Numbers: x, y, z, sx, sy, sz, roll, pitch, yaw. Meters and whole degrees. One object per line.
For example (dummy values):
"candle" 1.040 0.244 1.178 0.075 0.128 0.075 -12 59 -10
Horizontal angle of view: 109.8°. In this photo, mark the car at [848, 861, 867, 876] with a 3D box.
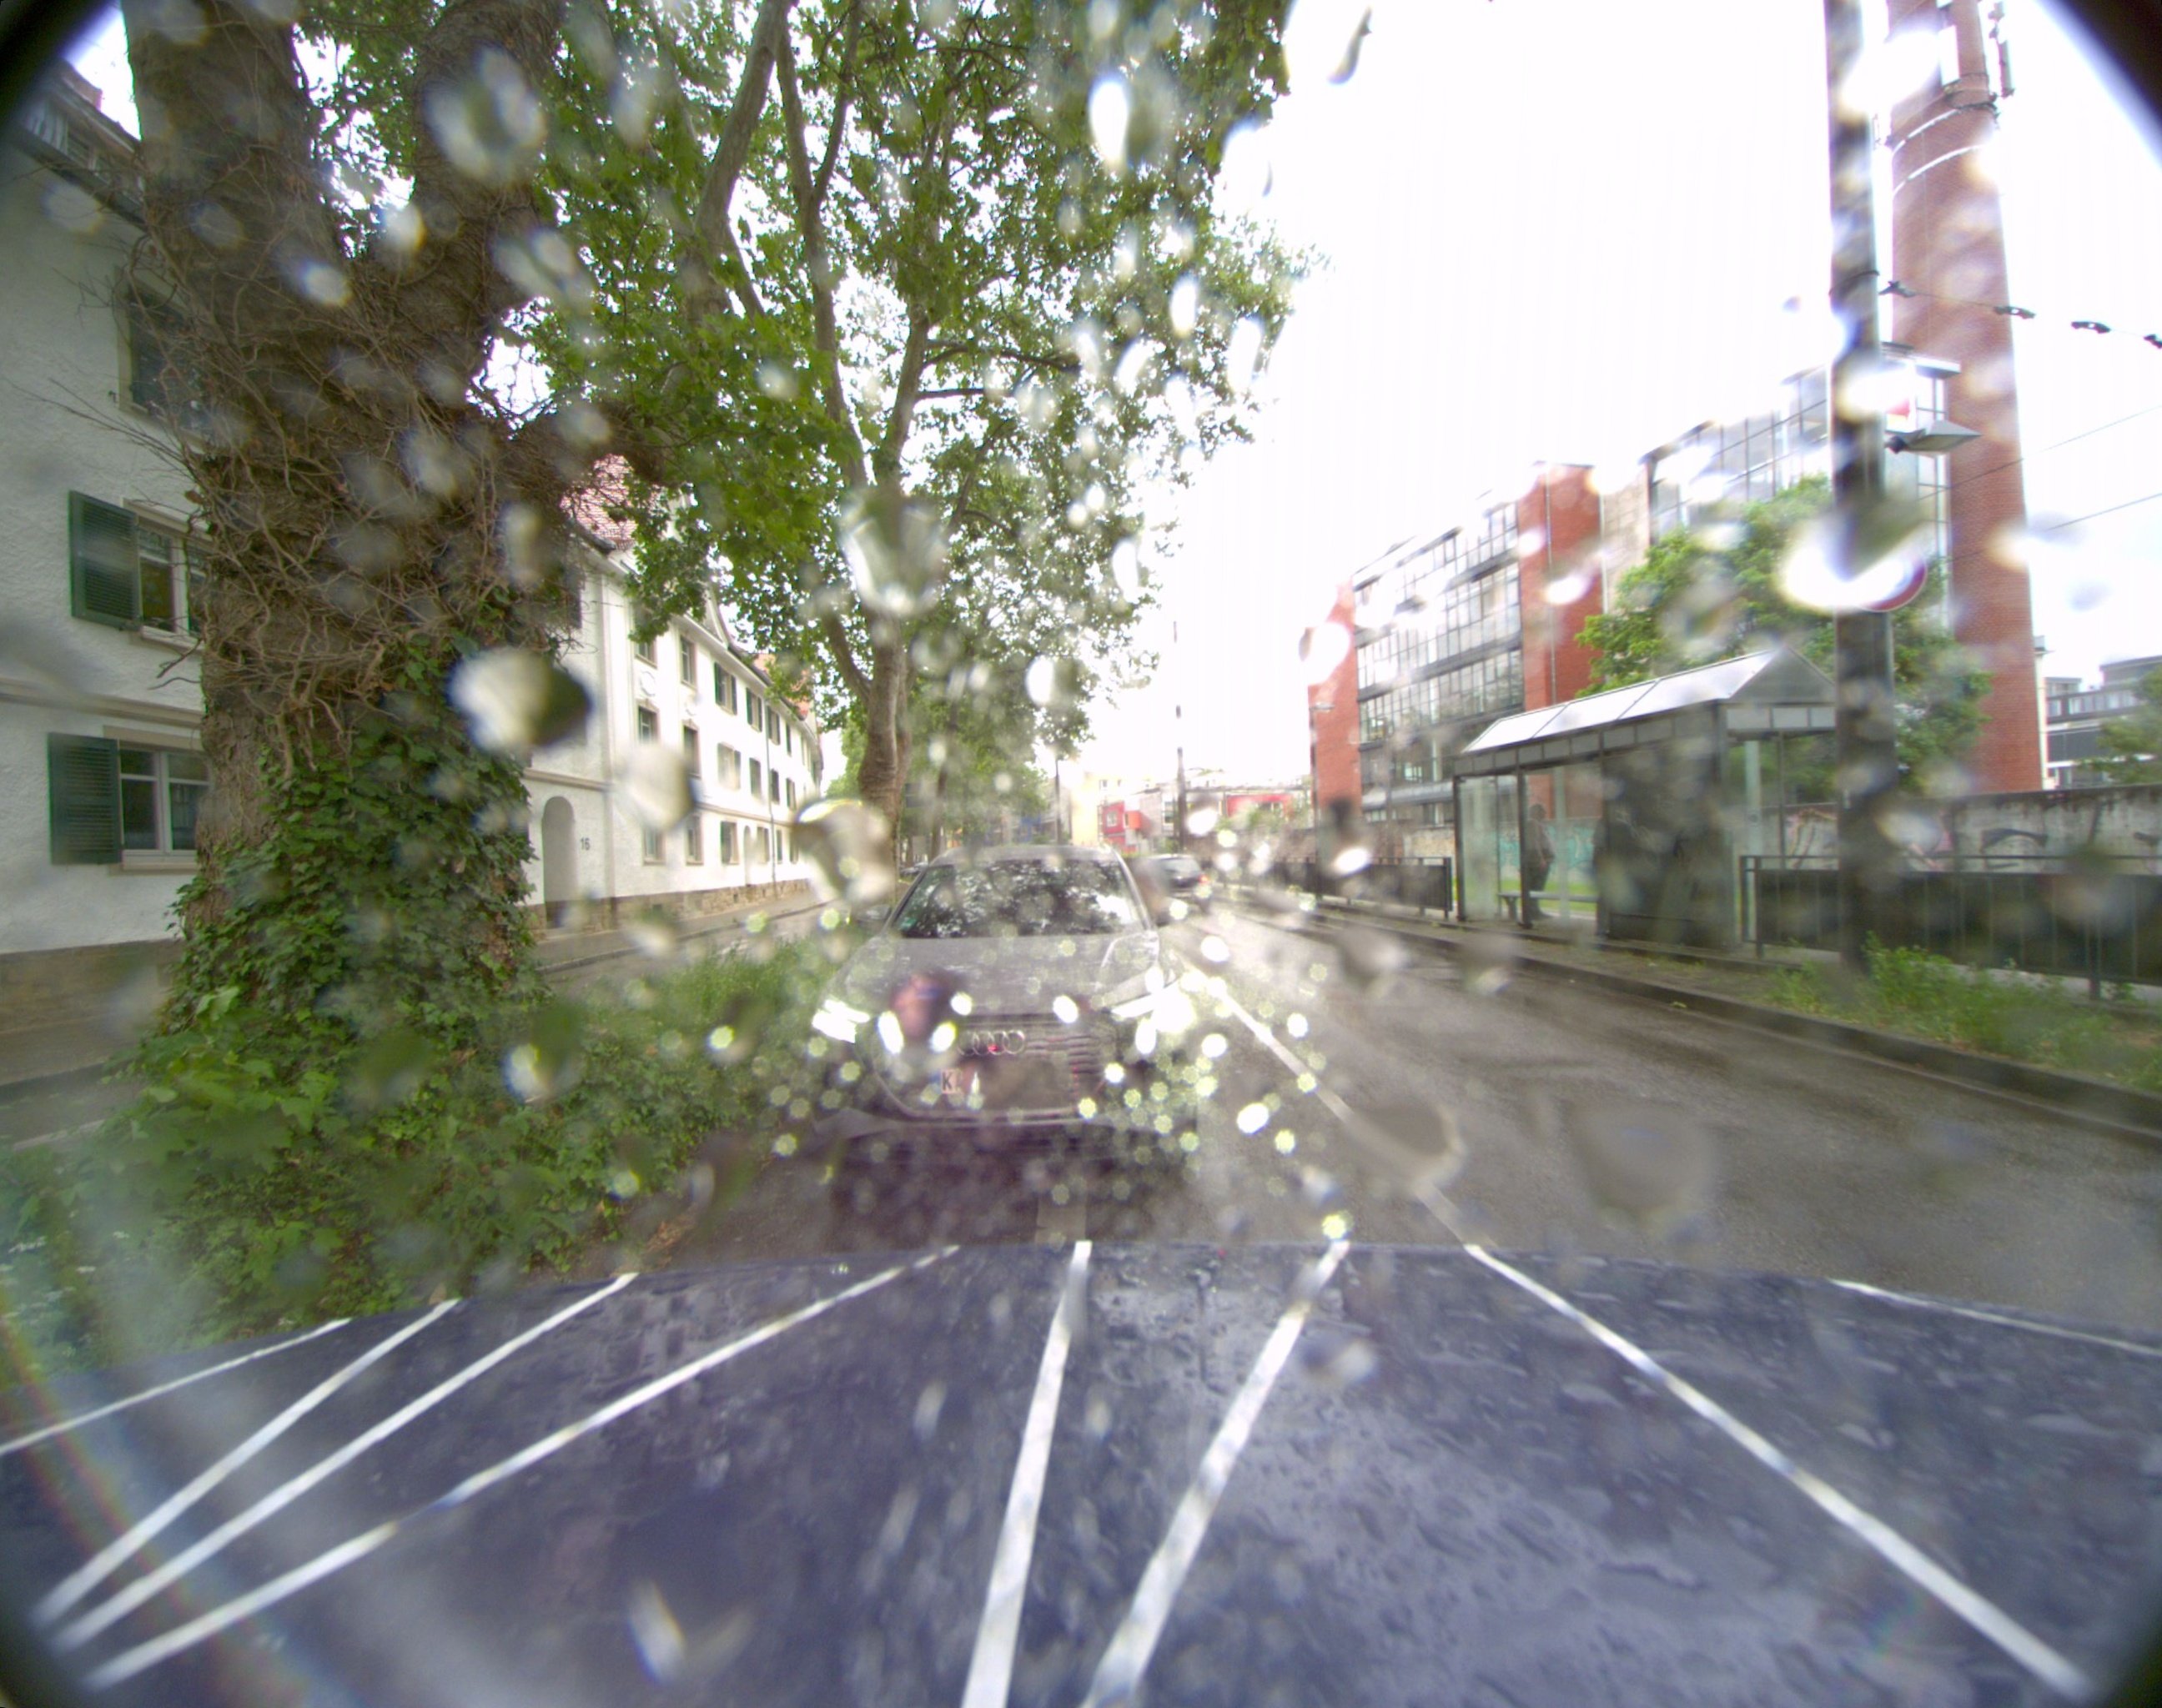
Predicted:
"car" -25.435 1.643 86.345 1.834 1.517 3.993 -3 1 -19

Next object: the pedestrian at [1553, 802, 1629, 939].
"pedestrian" 6.731 0.216 10.052 0.629 1.738 0.564 -2 1 9

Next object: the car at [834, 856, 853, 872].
"car" -30.989 1.307 99.149 2.002 2.001 3.993 3 -1 -20

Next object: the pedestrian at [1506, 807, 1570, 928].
"pedestrian" 6.813 0.199 11.342 0.629 1.738 0.514 -2 1 9

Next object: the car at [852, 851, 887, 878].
"car" -18.889 0.944 67.700 2.199 2.250 5.401 -3 0 -24

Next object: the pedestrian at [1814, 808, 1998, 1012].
"pedestrian" 7.802 0.496 7.221 0.828 1.794 0.843 -3 1 -10

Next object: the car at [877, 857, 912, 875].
"car" -23.221 1.501 94.663 4.002 2.002 1.997 -2 0 -17

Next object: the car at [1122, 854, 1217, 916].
"car" 2.281 0.764 20.615 1.719 1.451 3.745 -2 1 -6

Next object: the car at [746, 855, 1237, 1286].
"car" -0.415 0.872 5.127 1.917 1.632 4.106 -2 0 -2

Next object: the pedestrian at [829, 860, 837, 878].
"pedestrian" -25.125 1.501 76.899 0.674 1.811 0.678 -3 1 -18

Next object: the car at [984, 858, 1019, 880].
"car" -6.509 1.197 61.751 1.810 1.673 4.597 -3 0 -18

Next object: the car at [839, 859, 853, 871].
"car" -41.647 1.951 134.619 2.002 2.001 3.993 3 -1 -20
